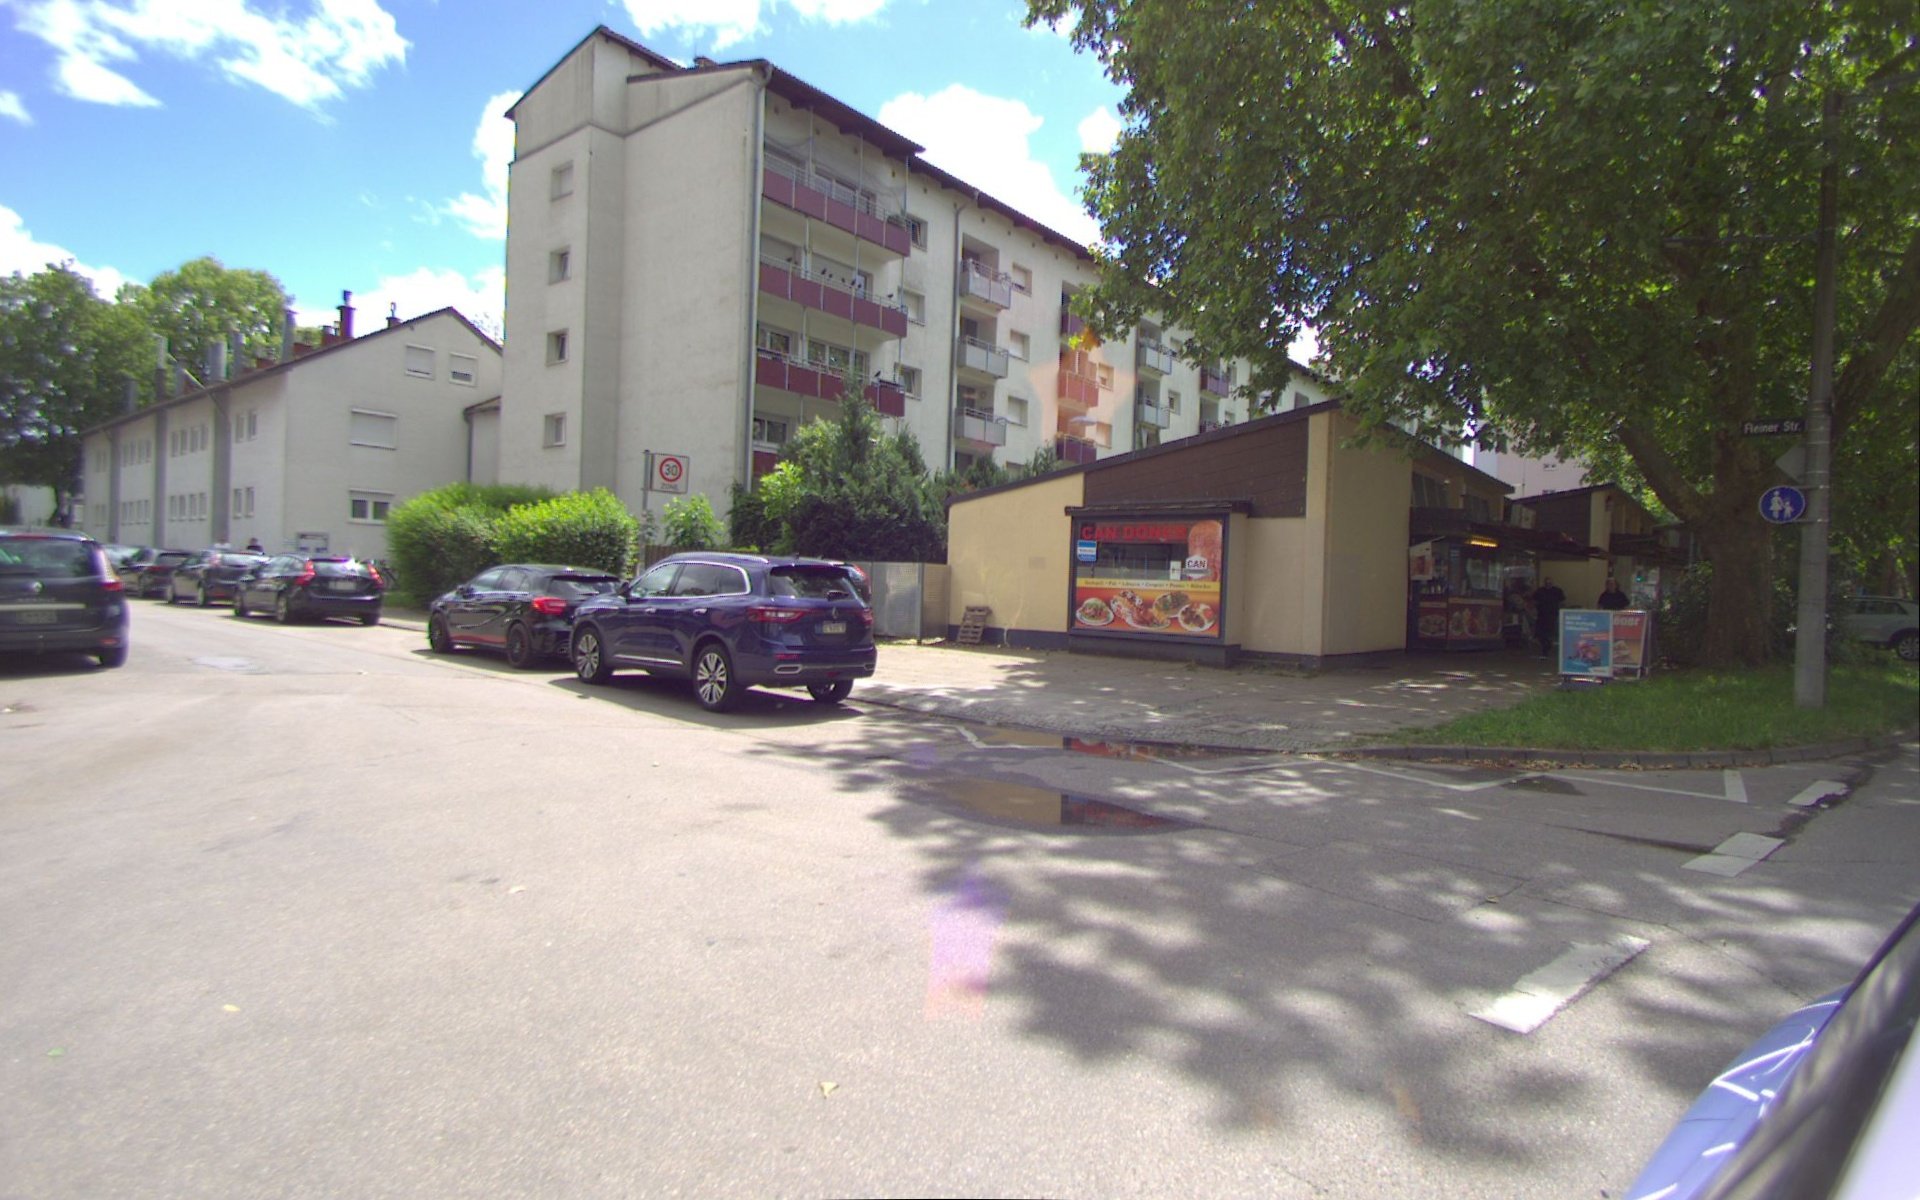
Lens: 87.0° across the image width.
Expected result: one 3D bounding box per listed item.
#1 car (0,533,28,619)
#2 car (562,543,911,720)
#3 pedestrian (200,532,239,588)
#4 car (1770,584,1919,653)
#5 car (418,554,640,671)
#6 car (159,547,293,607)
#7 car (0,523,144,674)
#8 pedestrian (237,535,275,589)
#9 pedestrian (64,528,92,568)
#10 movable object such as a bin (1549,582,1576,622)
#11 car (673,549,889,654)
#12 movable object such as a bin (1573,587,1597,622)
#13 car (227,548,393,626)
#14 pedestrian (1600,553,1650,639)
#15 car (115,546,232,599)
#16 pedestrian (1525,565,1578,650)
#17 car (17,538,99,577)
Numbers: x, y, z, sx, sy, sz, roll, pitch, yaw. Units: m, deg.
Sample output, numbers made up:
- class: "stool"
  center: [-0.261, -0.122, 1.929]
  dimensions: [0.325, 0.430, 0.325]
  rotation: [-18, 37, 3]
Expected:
- class: "car"
  center: [-18.416, -0.495, 18.329]
  dimensions: [4.228, 1.474, 1.864]
  rotation: [3, 2, 42]
- class: "car"
  center: [-2.784, 0.234, 12.094]
  dimensions: [4.177, 1.702, 1.983]
  rotation: [3, 2, 42]
- class: "pedestrian"
  center: [-24.141, -1.285, 32.977]
  dimensions: [0.949, 1.776, 0.828]
  rotation: [1, 1, 40]
- class: "car"
  center: [23.503, 0.463, 26.175]
  dimensions: [3.830, 1.581, 1.595]
  rotation: [4, 3, 43]
- class: "car"
  center: [-6.579, 0.112, 15.241]
  dimensions: [3.985, 1.461, 1.503]
  rotation: [4, 2, 42]
- class: "car"
  center: [-19.093, -0.621, 26.271]
  dimensions: [4.045, 1.426, 1.930]
  rotation: [3, 2, 41]
- class: "car"
  center: [-11.658, -0.101, 12.448]
  dimensions: [4.228, 1.624, 1.864]
  rotation: [3, 2, 42]
- class: "pedestrian"
  center: [-23.366, -1.254, 33.587]
  dimensions: [0.949, 1.776, 0.828]
  rotation: [1, 1, 40]
- class: "pedestrian"
  center: [-39.840, -2.344, 45.692]
  dimensions: [0.949, 1.776, 0.828]
  rotation: [1, 1, 40]
- class: "movable object such as a bin"
  center: [16.607, 0.043, 27.901]
  dimensions: [0.518, 1.081, 0.699]
  rotation: [3, 2, 39]
- class: "car"
  center: [-3.378, -0.053, 18.658]
  dimensions: [4.090, 1.675, 1.784]
  rotation: [3, 2, 42]
- class: "movable object such as a bin"
  center: [17.031, 0.127, 27.576]
  dimensions: [0.436, 0.925, 0.579]
  rotation: [3, 2, 40]
- class: "car"
  center: [-13.922, -0.318, 21.592]
  dimensions: [4.104, 1.472, 1.849]
  rotation: [3, 2, 40]
- class: "pedestrian"
  center: [13.540, -0.091, 20.601]
  dimensions: [0.758, 1.697, 0.625]
  rotation: [0, 2, -41]
- class: "car"
  center: [-22.939, -0.809, 29.468]
  dimensions: [4.045, 1.426, 1.930]
  rotation: [3, 2, 41]
- class: "pedestrian"
  center: [12.564, 0.153, 21.503]
  dimensions: [0.648, 1.746, 0.759]
  rotation: [0, 3, -45]
- class: "car"
  center: [-35.453, -1.677, 39.751]
  dimensions: [4.045, 1.426, 1.930]
  rotation: [3, 2, 41]
